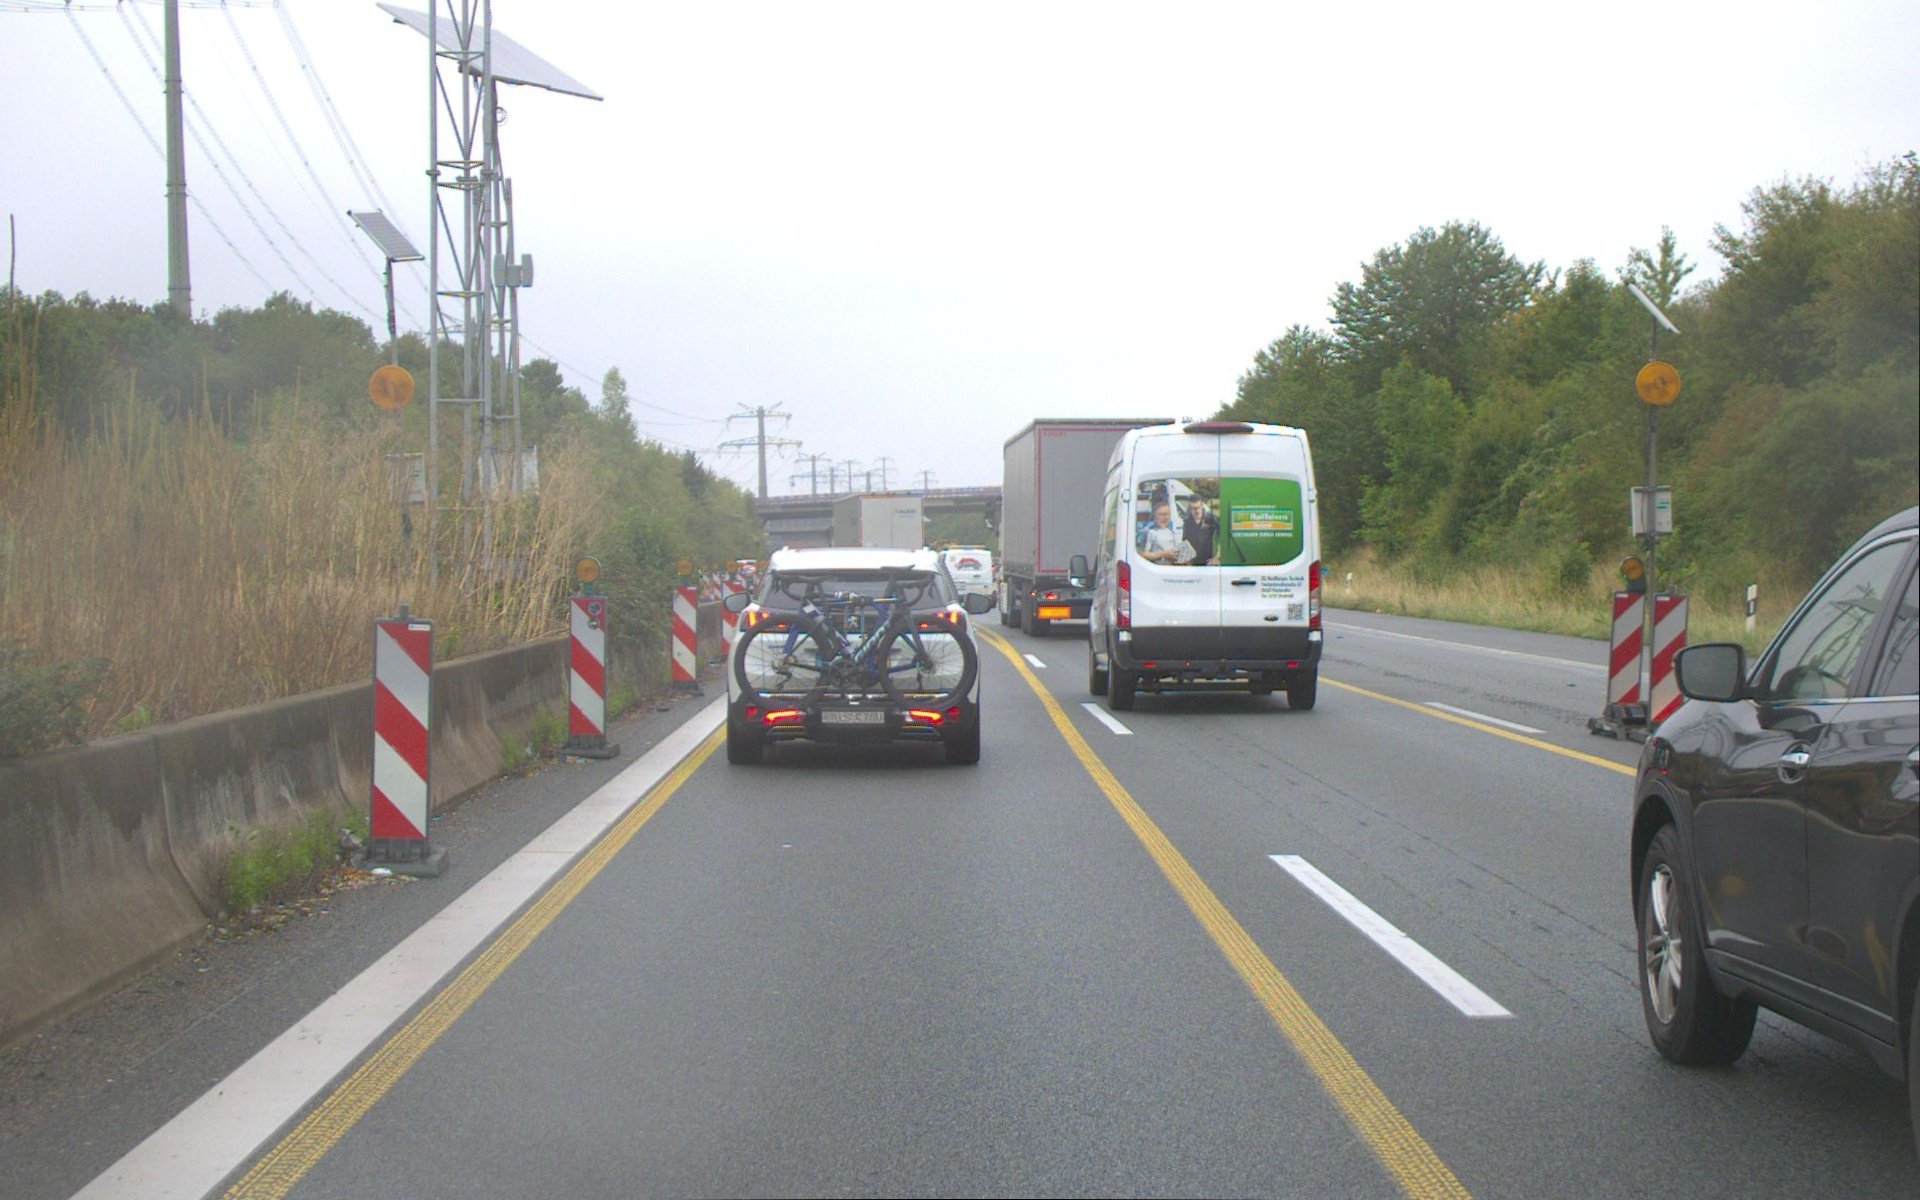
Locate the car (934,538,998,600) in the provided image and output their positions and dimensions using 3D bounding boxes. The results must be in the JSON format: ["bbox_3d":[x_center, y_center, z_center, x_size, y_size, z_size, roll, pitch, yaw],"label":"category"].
[{"bbox_3d":[0.168,-0.961,105.185,1.829,1.833,4.656,0,1,-1],"label":"car"}]

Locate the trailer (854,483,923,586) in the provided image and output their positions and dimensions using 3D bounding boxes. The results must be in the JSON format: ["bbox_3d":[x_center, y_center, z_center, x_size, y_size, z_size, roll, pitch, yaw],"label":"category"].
[{"bbox_3d":[-2.972,-2.677,142.264,2.692,4.062,13.634,0,1,-1],"label":"trailer"}]

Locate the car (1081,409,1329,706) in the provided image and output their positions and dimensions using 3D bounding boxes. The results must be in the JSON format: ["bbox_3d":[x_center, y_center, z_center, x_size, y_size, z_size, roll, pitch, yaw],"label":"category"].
[{"bbox_3d":[2.408,-0.446,35.227,1.993,2.773,5.757,-1,1,-1],"label":"car"}]

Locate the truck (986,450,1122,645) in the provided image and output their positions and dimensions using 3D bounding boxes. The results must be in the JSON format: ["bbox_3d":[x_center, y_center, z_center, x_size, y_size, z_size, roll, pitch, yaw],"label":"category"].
[{"bbox_3d":[2.025,-1.146,75.751,2.706,4.124,5.691,0,1,-1],"label":"truck"}]

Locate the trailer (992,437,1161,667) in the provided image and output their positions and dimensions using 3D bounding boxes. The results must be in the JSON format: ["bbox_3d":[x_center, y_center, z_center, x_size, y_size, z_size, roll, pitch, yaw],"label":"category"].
[{"bbox_3d":[2.168,-0.965,68.788,2.706,4.132,13.733,0,1,-1],"label":"trailer"}]

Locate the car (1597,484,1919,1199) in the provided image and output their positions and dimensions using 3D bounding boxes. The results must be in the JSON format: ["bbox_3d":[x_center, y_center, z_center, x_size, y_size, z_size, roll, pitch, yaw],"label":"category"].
[{"bbox_3d":[2.892,0.557,8.451,1.684,1.653,4.281,0,1,-2],"label":"car"}]

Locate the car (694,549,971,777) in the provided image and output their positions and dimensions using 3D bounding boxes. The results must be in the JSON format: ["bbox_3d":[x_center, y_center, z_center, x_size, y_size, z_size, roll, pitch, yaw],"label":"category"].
[{"bbox_3d":[-0.902,0.388,25.410,1.850,1.525,4.769,0,1,-1],"label":"car"}]
